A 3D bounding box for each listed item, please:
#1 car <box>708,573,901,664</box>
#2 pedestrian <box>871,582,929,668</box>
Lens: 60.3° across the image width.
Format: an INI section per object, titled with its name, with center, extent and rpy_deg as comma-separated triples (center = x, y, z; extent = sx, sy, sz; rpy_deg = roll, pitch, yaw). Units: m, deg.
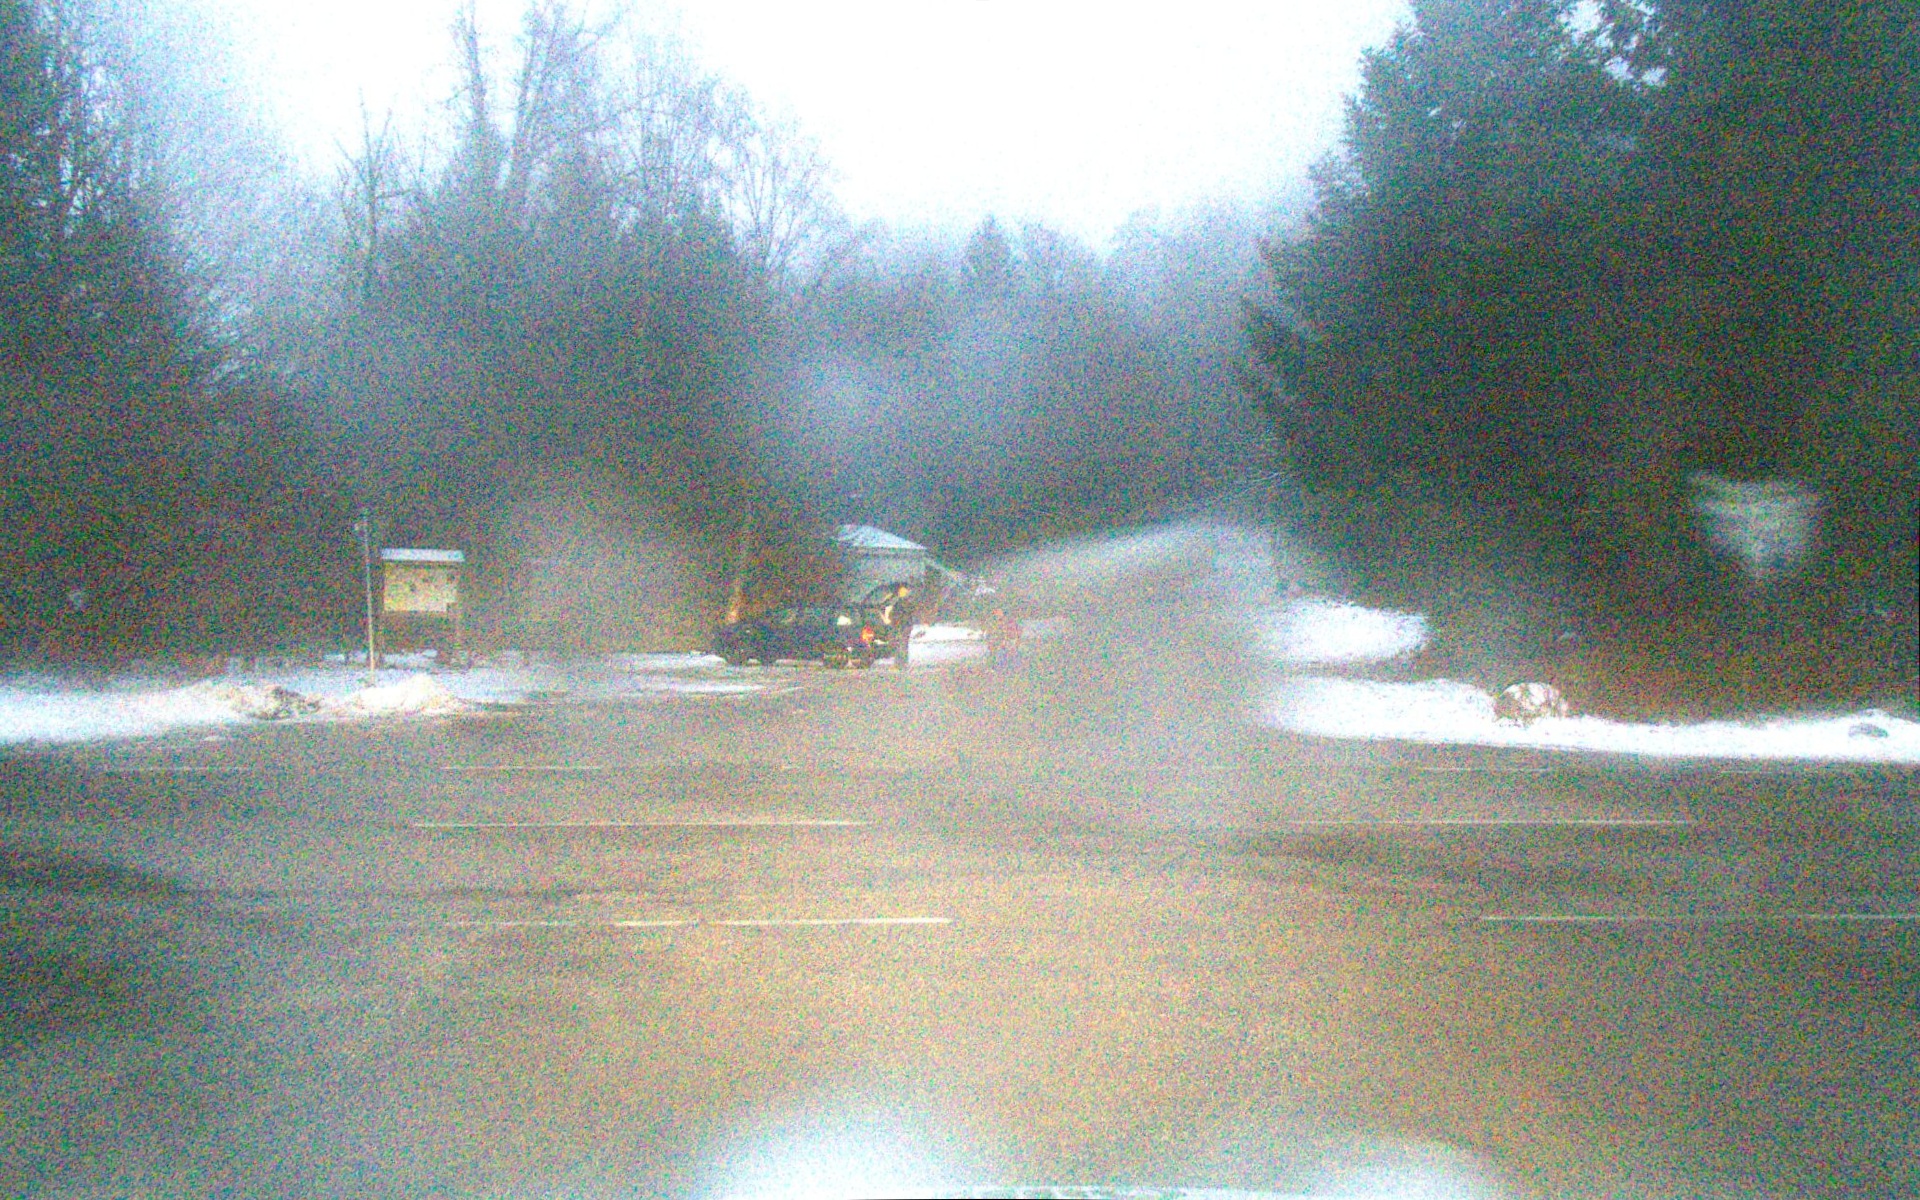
[car]
center = -3.518, 0.421, 37.598
extent = 3.863, 1.914, 2.001
rpy_deg = 1, -1, 16
[pedestrian]
center = -1.316, 0.546, 36.467
extent = 0.941, 1.860, 0.925
rpy_deg = 1, -1, 20
